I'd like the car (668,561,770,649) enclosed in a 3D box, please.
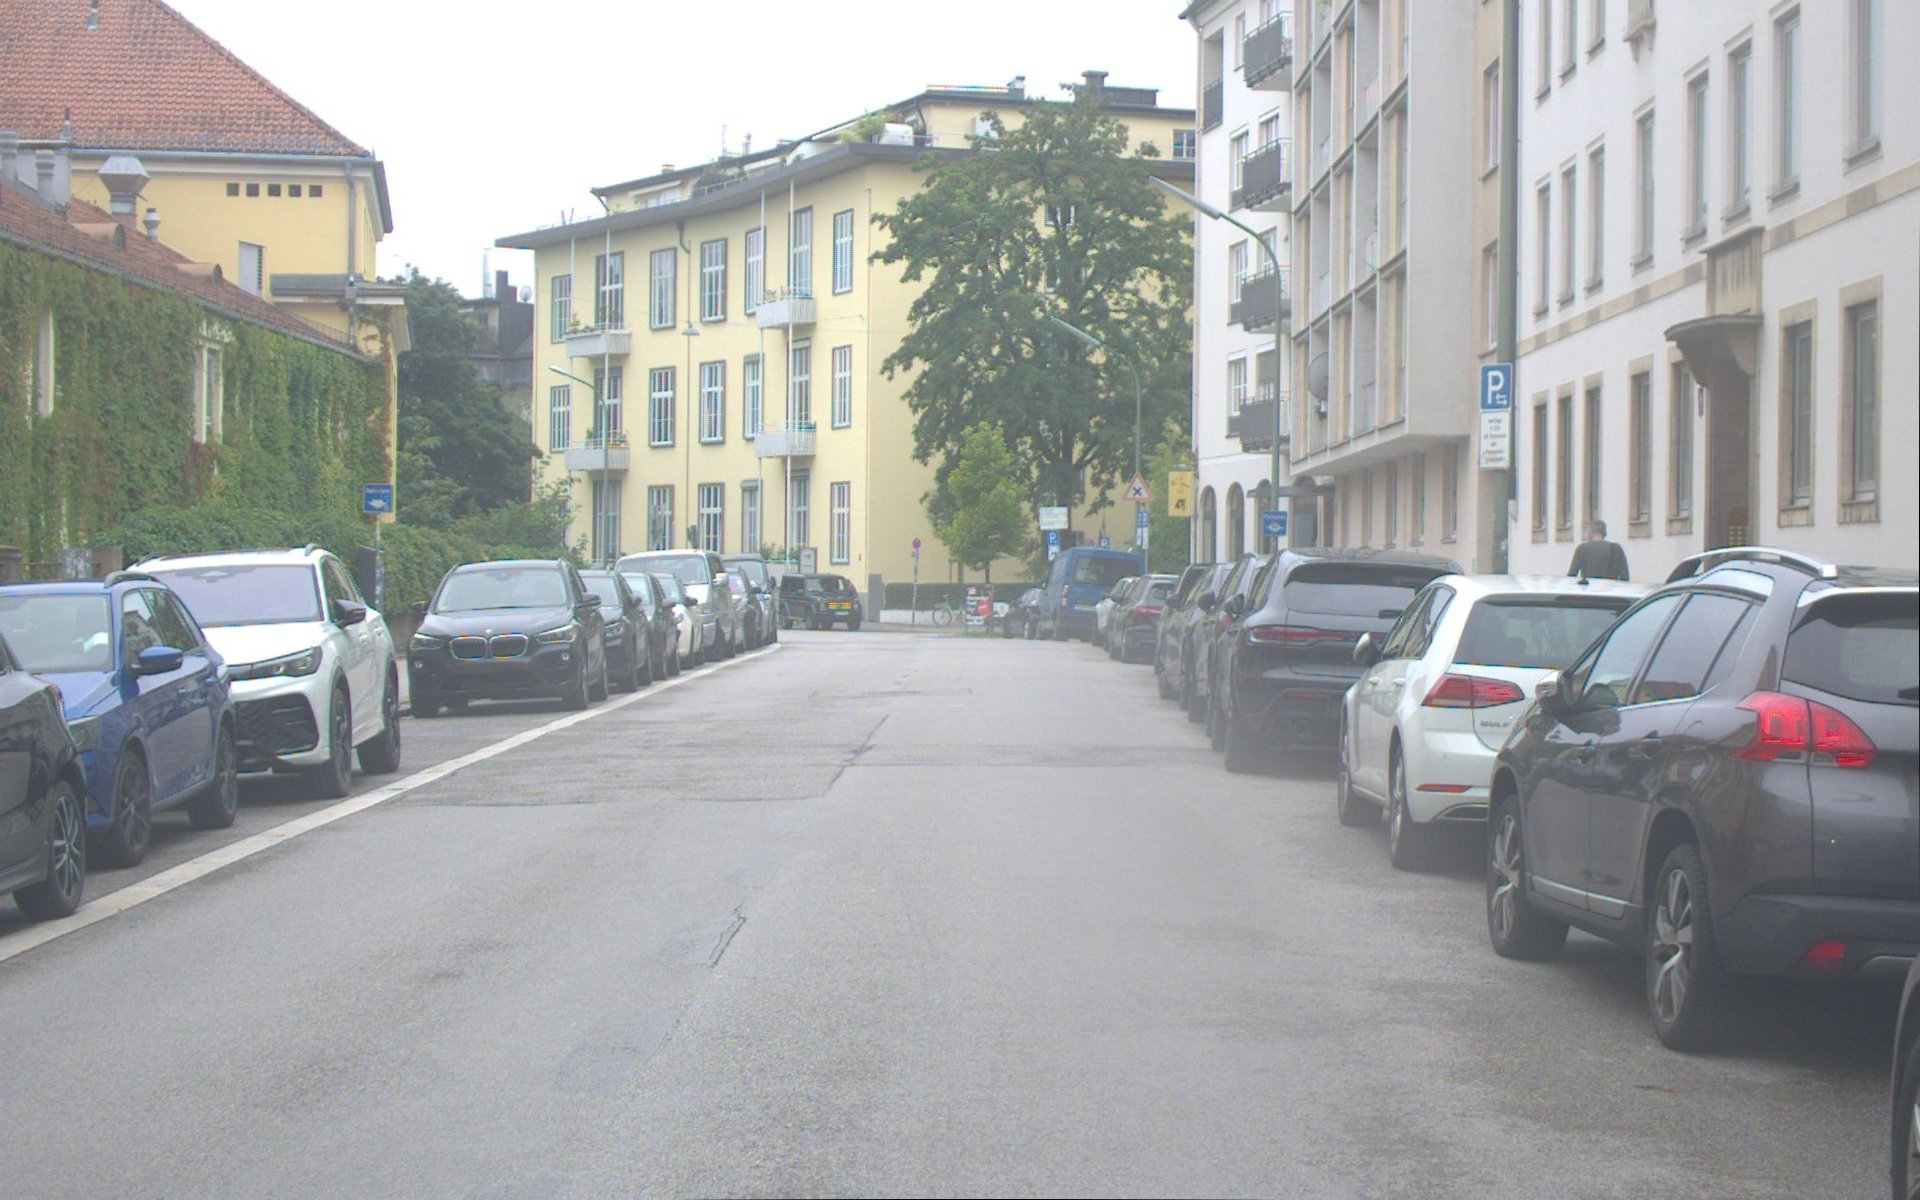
[{"bbox_3d":[-4.749,0.085,68.114,1.697,1.637,4.490,-2,0,-1],"label":"car"}]

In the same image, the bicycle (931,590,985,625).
[{"bbox_3d":[-0.073,0.250,121.218,1.926,1.197,0.594,1,0,37],"label":"bicycle"}]

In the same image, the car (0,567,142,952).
[{"bbox_3d":[-4.598,0.661,13.462,1.699,1.492,4.149,-3,0,1],"label":"car"}]

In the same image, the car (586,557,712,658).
[{"bbox_3d":[-4.703,0.103,52.352,1.591,1.436,4.019,-2,0,-1],"label":"car"}]

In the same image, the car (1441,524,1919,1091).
[{"bbox_3d":[2.946,0.594,11.936,1.706,1.587,4.362,2,0,-3],"label":"car"}]

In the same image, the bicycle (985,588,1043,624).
[{"bbox_3d":[1.886,0.215,119.989,1.923,1.197,0.595,1,0,14],"label":"bicycle"}]

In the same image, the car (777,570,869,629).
[{"bbox_3d":[-4.813,-0.026,120.328,1.762,1.868,4.380,5,-1,-21],"label":"car"}]

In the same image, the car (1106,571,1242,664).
[{"bbox_3d":[3.478,0.265,56.667,1.745,1.383,4.954,3,0,-2],"label":"car"}]

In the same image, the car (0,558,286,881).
[{"bbox_3d":[-4.951,0.602,18.576,1.703,1.497,4.495,-4,0,-1],"label":"car"}]

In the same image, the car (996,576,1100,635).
[{"bbox_3d":[2.278,0.123,89.829,1.676,1.384,4.307,5,-1,-12],"label":"car"}]

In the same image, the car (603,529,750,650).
[{"bbox_3d":[-4.723,-0.177,57.808,1.887,1.883,4.773,-2,0,2],"label":"car"}]

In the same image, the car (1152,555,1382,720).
[{"bbox_3d":[3.087,0.338,35.569,1.802,1.479,5.320,3,0,0],"label":"car"}]

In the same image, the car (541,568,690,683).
[{"bbox_3d":[-4.679,0.325,47.098,1.603,1.425,4.252,-2,0,-1],"label":"car"}]

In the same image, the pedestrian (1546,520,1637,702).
[{"bbox_3d":[6.204,0.117,33.823,0.723,1.757,0.904,1,-1,1],"label":"pedestrian"}]

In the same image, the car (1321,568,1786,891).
[{"bbox_3d":[2.977,0.581,18.132,1.672,1.424,4.530,2,0,1],"label":"car"}]

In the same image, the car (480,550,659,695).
[{"bbox_3d":[-4.719,0.247,42.023,1.724,1.624,4.466,-2,0,-1],"label":"car"}]

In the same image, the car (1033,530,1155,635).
[{"bbox_3d":[3.220,-0.374,83.669,2.078,2.226,5.245,5,-2,-6],"label":"car"}]

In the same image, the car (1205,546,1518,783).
[{"bbox_3d":[2.847,0.415,25.303,1.840,1.517,4.709,2,0,2],"label":"car"}]

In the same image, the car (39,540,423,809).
[{"bbox_3d":[-4.855,0.434,23.540,1.745,1.628,4.857,-1,0,-2],"label":"car"}]

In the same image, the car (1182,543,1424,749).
[{"bbox_3d":[2.946,0.363,30.316,1.645,1.584,4.634,3,0,1],"label":"car"}]

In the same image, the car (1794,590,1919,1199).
[{"bbox_3d":[2.606,0.754,5.275,1.687,1.397,4.364,1,2,2],"label":"car"}]

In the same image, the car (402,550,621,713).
[{"bbox_3d":[-4.770,0.302,37.166,1.789,1.581,4.818,-2,0,-1],"label":"car"}]
